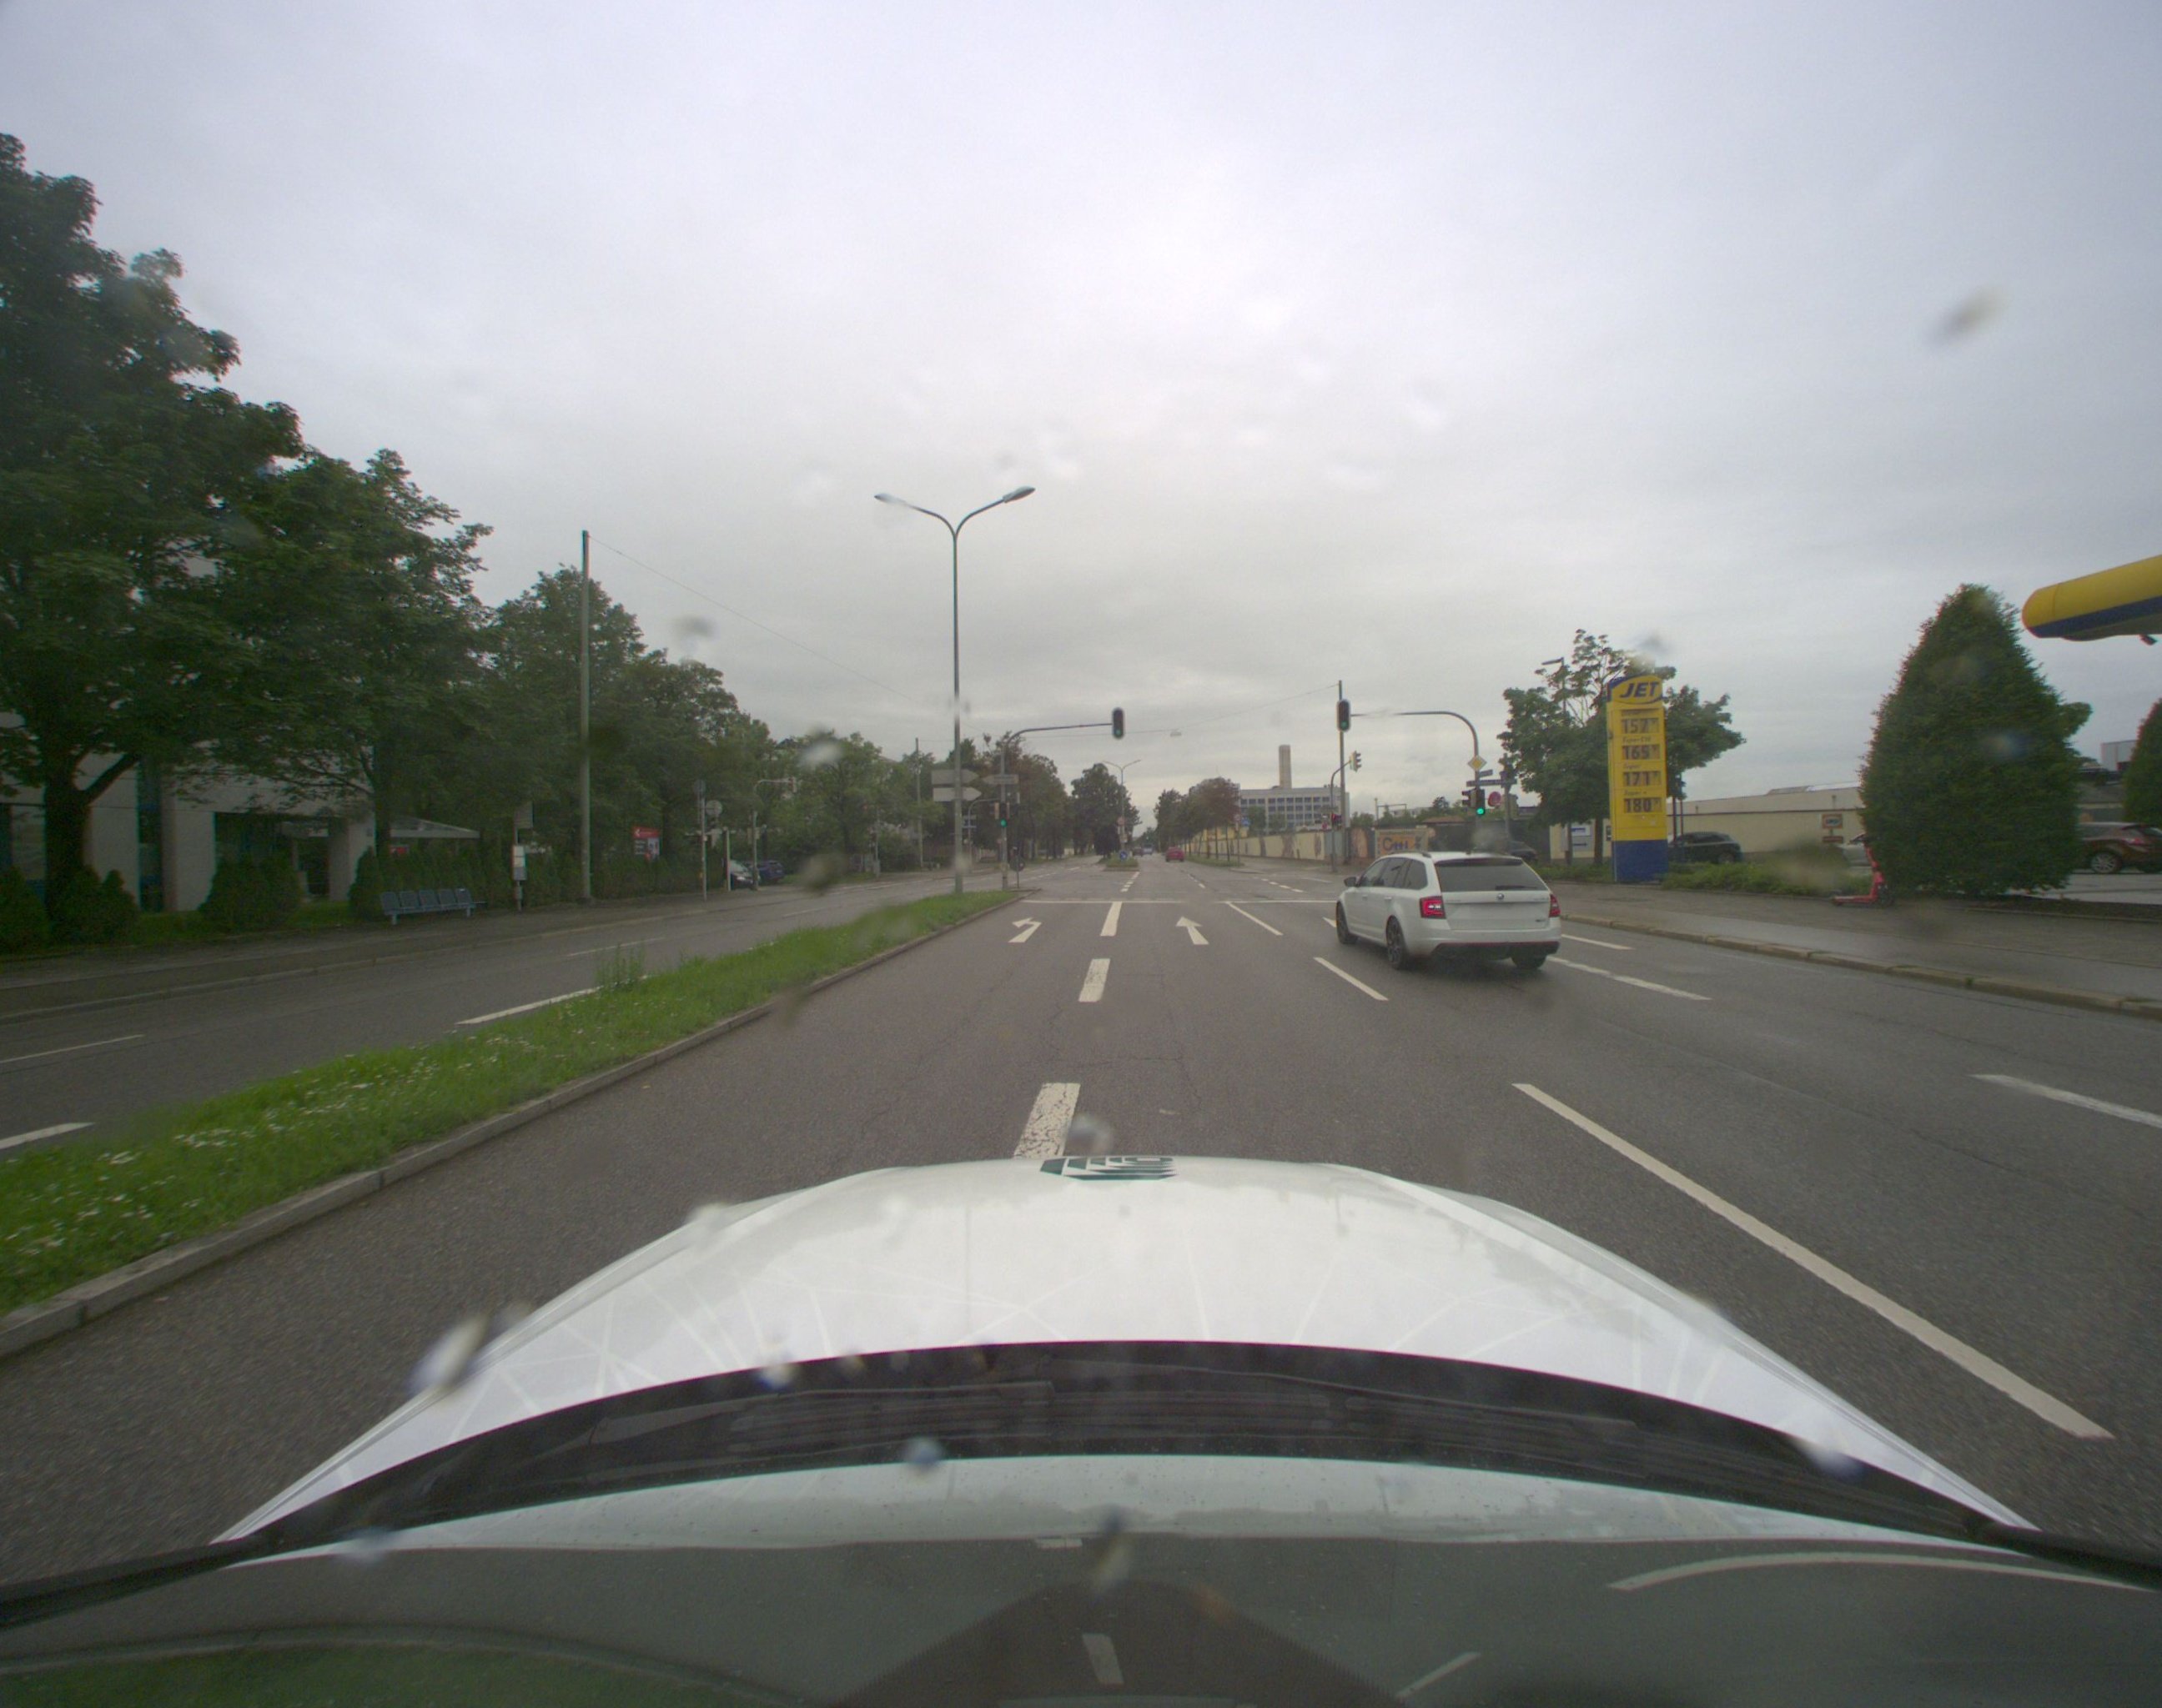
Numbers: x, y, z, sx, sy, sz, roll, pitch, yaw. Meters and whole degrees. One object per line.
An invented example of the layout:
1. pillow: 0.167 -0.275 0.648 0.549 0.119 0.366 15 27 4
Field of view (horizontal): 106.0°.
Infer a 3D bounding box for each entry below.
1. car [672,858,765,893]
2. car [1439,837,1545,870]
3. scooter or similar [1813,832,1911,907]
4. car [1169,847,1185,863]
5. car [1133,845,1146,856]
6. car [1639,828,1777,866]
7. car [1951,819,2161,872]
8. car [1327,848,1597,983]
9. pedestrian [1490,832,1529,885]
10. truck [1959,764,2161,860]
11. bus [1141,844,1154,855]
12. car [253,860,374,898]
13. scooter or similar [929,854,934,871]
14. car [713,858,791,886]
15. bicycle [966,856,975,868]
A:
1. car: -19.977 1.189 44.865 4.731 1.723 2.012 -2 -1 26
2. car: 20.178 -0.038 40.144 4.229 1.428 2.003 -2 0 6
3. scooter or similar: 13.741 0.256 14.378 0.354 1.242 1.549 -4 -1 8
4. car: 10.470 0.099 89.330 1.478 1.715 3.553 0 0 2
5. car: 10.517 -0.637 146.659 2.076 1.866 4.389 0 0 2
6. car: 28.490 -0.314 37.139 4.594 1.532 2.003 -2 0 6
7. car: 28.665 -0.232 23.771 1.696 1.384 4.354 0 0 -6
8. car: 4.826 0.671 11.141 1.869 1.468 4.507 0 0 4
9. pedestrian: 13.679 0.130 26.014 0.799 1.615 0.688 -4 0 2
10. truck: 46.477 -1.893 35.854 11.837 3.855 2.614 -2 0 6
11. bus: 17.867 -1.199 219.356 3.208 3.127 10.351 0 0 2
12. car: -30.976 0.989 32.888 4.128 1.418 1.879 0 0 20
13. scooter or similar: -12.903 0.720 70.412 0.370 1.424 1.400 0 0 -12
14. car: -21.747 1.167 53.892 4.240 1.574 2.007 -2 2 12
15. bicycle: -12.217 0.890 89.752 0.580 1.295 2.455 0 0 1
